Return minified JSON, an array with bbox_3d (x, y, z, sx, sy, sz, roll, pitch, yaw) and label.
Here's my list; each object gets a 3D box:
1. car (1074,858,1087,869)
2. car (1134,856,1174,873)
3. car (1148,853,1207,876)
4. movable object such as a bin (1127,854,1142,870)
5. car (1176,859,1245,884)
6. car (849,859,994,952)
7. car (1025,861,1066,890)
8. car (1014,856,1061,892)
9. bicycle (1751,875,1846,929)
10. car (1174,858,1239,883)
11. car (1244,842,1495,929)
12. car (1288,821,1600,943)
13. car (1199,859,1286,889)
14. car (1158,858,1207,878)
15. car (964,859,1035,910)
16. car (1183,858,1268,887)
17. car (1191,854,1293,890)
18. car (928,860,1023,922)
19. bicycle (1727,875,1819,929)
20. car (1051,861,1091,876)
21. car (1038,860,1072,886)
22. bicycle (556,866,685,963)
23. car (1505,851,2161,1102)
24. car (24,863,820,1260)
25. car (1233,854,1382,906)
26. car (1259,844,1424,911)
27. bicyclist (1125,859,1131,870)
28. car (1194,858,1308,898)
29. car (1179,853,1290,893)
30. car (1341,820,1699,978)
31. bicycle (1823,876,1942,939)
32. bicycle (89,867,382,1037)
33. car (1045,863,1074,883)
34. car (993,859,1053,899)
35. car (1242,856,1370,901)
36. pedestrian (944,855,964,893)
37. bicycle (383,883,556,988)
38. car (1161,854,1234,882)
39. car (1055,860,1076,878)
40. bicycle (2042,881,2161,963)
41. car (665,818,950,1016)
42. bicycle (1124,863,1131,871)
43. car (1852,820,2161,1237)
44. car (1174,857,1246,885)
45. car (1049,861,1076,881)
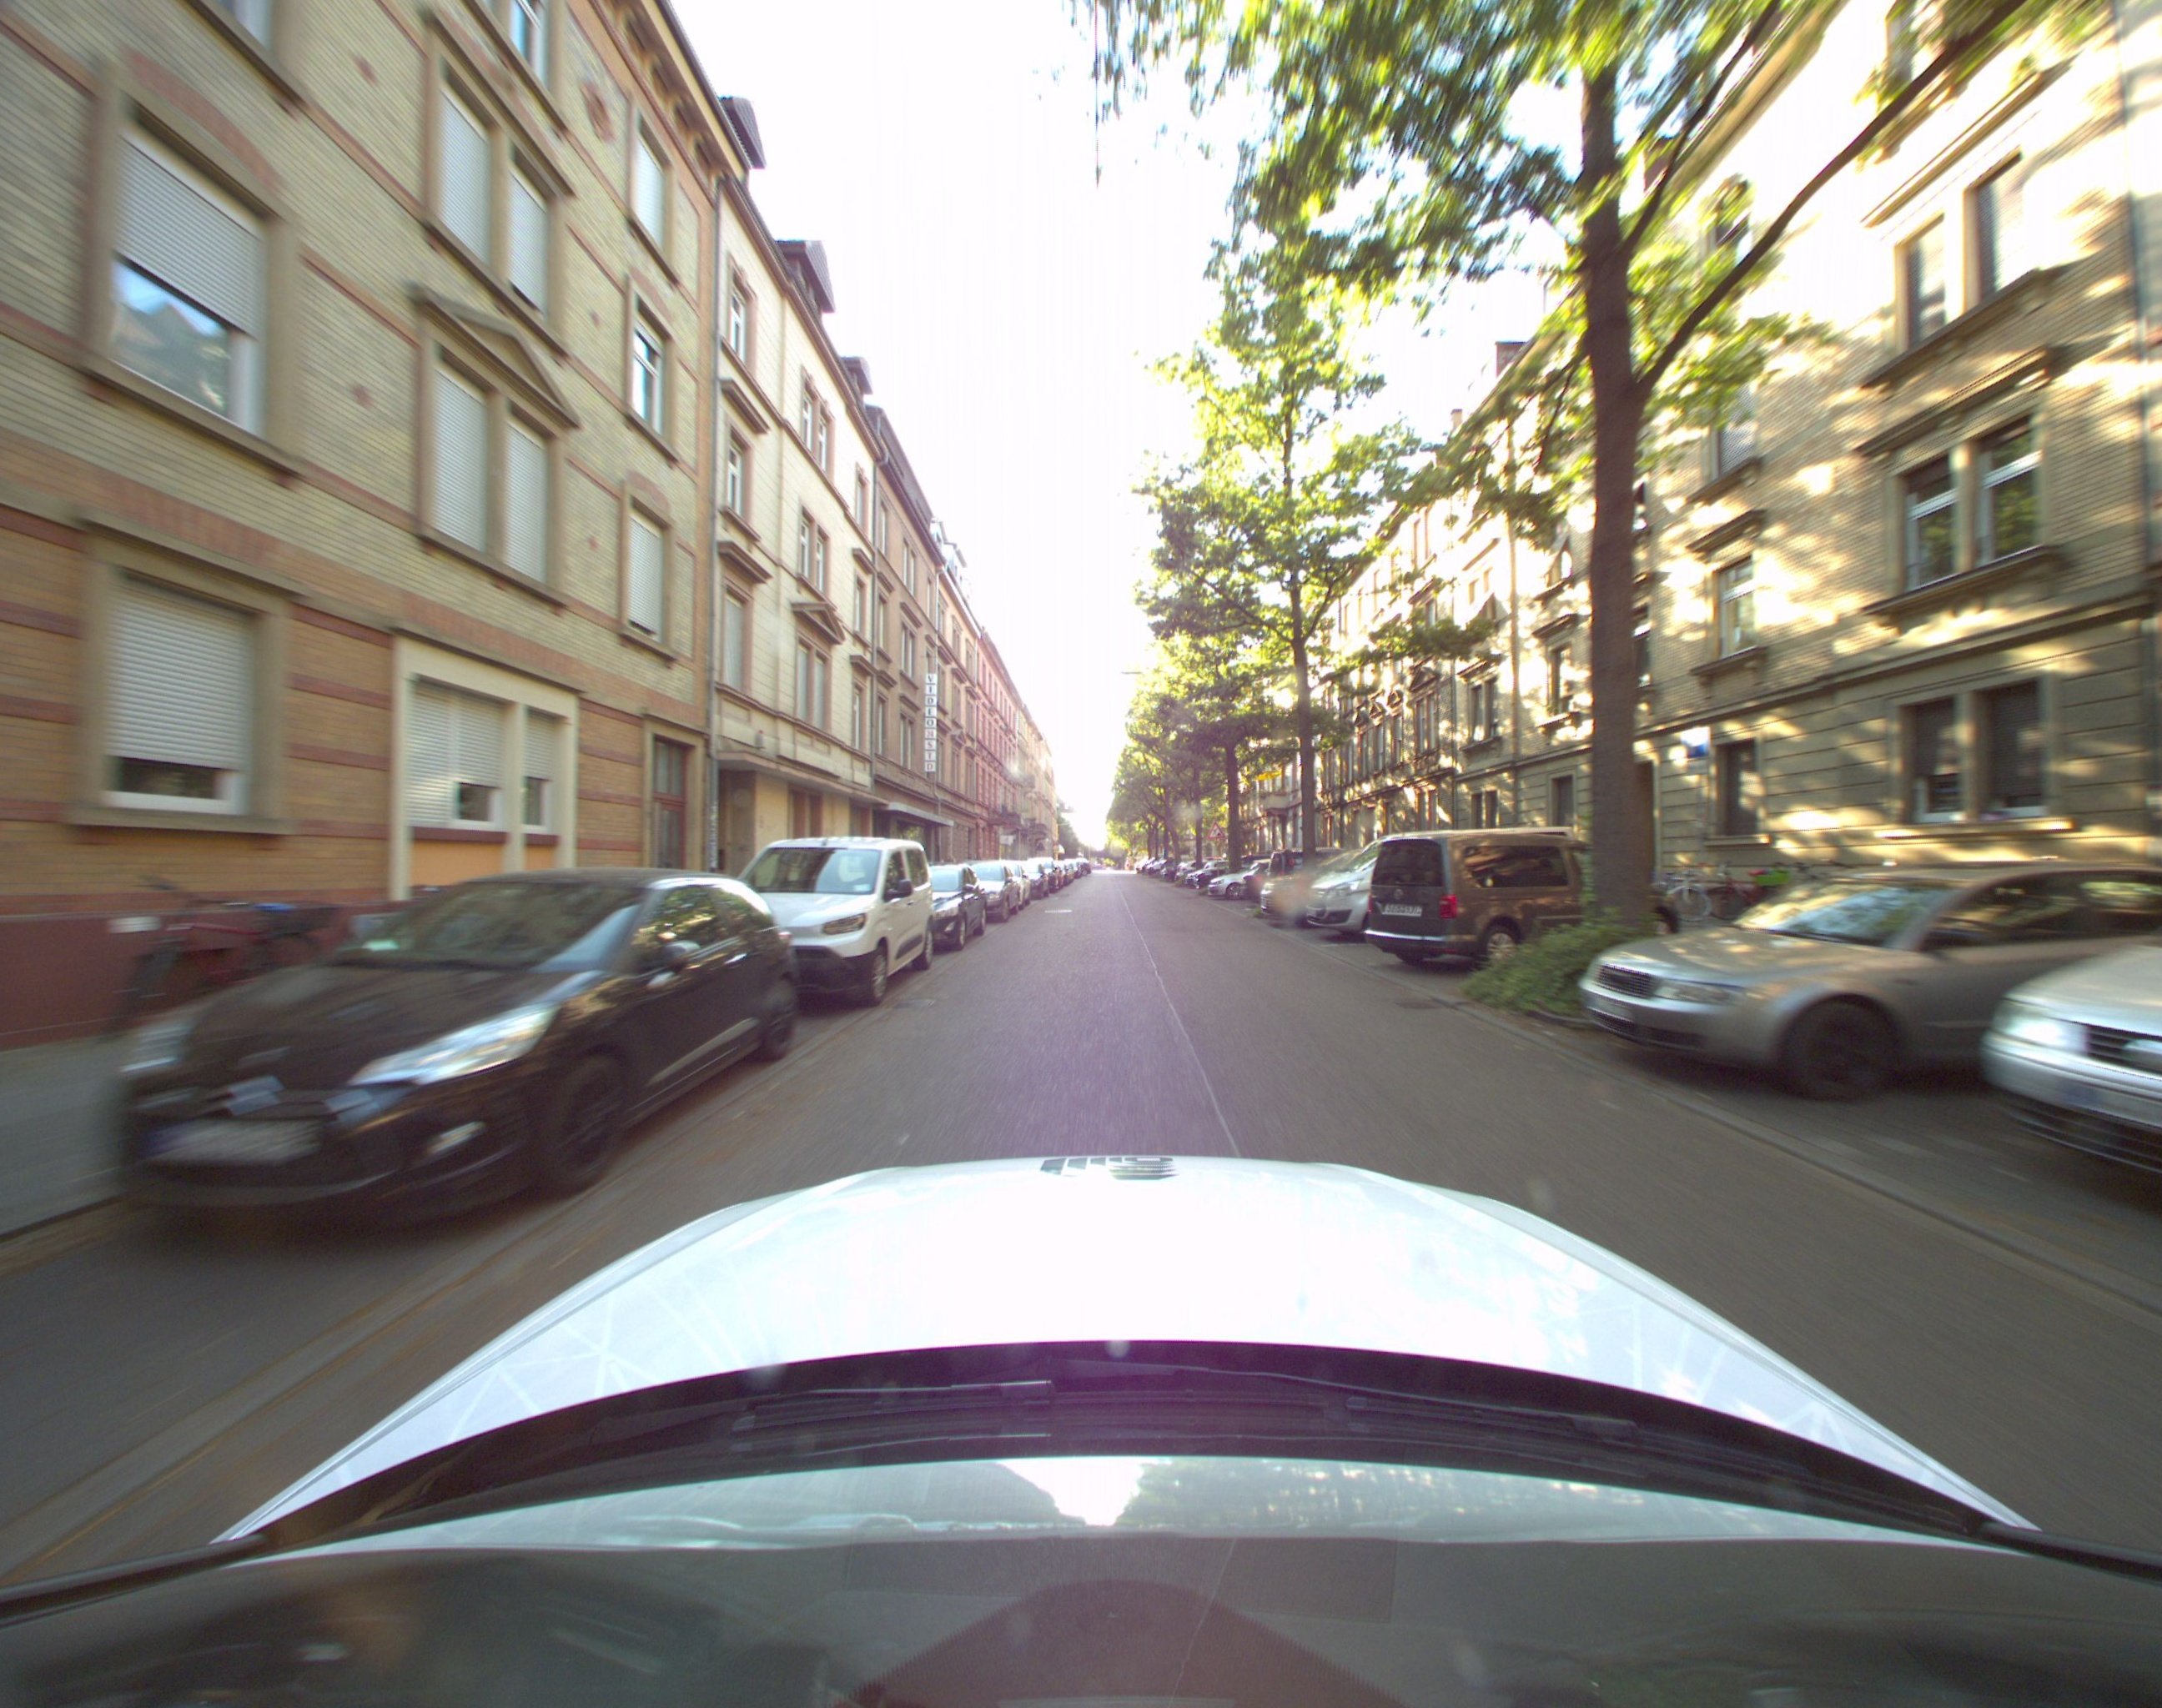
[{"bbox_3d":[-0.012,1.293,110.368,1.759,1.437,4.300,0,-1,0],"label":"car"},{"bbox_3d":[9.233,1.288,103.187,4.955,2.096,2.106,0,-1,1],"label":"car"},{"bbox_3d":[8.580,0.986,72.912,5.073,1.940,2.158,0,-4,1],"label":"car"},{"bbox_3d":[9.417,1.416,143.392,1.979,2.700,3.122,0,-1,15],"label":"movable object such as a bin"},{"bbox_3d":[7.988,1.062,50.616,3.976,1.462,1.781,0,-1,-2],"label":"car"},{"bbox_3d":[-2.753,0.836,15.018,1.740,1.473,4.245,0,0,1],"label":"car"},{"bbox_3d":[-1.828,1.103,43.385,1.814,1.426,4.315,1,0,2],"label":"car"},{"bbox_3d":[-2.019,0.921,38.969,1.814,1.600,4.315,1,0,2],"label":"car"},{"bbox_3d":[12.271,0.794,13.982,0.305,0.855,1.581,0,-1,3],"label":"bicycle"},{"bbox_3d":[8.167,1.051,53.211,3.976,1.590,1.781,0,-1,-2],"label":"car"},{"bbox_3d":[6.378,0.674,18.434,4.907,1.632,2.077,-3,-1,-2],"label":"car"},{"bbox_3d":[6.695,0.489,15.450,4.907,1.901,2.174,-3,-1,-2],"label":"car"},{"bbox_3d":[8.033,0.988,40.851,4.084,1.470,1.802,0,0,2],"label":"car"},{"bbox_3d":[8.486,1.158,68.327,3.876,1.649,1.722,0,-1,-4],"label":"car"},{"bbox_3d":[-2.495,0.898,25.798,1.751,1.472,4.088,0,0,1],"label":"car"},{"bbox_3d":[7.666,0.980,43.526,4.210,1.536,1.800,0,0,-2],"label":"car"},{"bbox_3d":[7.483,0.857,38.178,4.461,1.656,1.891,0,-2,0],"label":"car"},{"bbox_3d":[-2.627,0.876,21.321,1.880,1.444,4.542,0,0,0],"label":"car"},{"bbox_3d":[11.948,0.797,14.112,0.305,0.855,1.581,0,-1,3],"label":"bicycle"},{"bbox_3d":[-0.998,1.464,82.244,3.980,1.530,1.823,0,-1,-5],"label":"car"},{"bbox_3d":[-1.563,1.130,50.025,1.814,1.477,4.425,1,0,2],"label":"car"},{"bbox_3d":[-6.808,0.830,12.232,0.627,1.280,2.665,0,-1,-5],"label":"bicycle"},{"bbox_3d":[5.740,0.740,5.774,4.439,1.368,1.904,-2,-1,3],"label":"car"},{"bbox_3d":[-3.033,0.787,4.913,1.631,1.421,3.825,1,0,0],"label":"car"},{"bbox_3d":[7.038,0.794,25.588,4.131,1.455,1.937,-2,-1,0],"label":"car"},{"bbox_3d":[7.225,0.642,22.933,4.107,1.788,1.947,0,-1,3],"label":"car"},{"bbox_3d":[5.960,1.295,103.440,0.800,1.383,0.985,1,-1,1],"label":"bicyclist"},{"bbox_3d":[6.304,0.891,30.437,3.971,1.456,1.688,0,-1,2],"label":"car"},{"bbox_3d":[6.479,0.823,34.768,4.457,1.656,1.893,0,-2,3],"label":"car"},{"bbox_3d":[6.285,0.525,11.684,4.679,1.890,1.895,-1,0,-20],"label":"car"},{"bbox_3d":[12.062,0.782,12.310,0.305,0.855,1.581,0,-1,3],"label":"bicycle"},{"bbox_3d":[-7.168,0.749,7.068,0.492,1.257,1.909,1,-1,1],"label":"bicycle"},{"bbox_3d":[-1.421,1.257,54.900,1.699,1.323,4.103,0,-1,2],"label":"car"},{"bbox_3d":[-2.204,0.948,32.337,1.855,1.472,4.491,0,0,3],"label":"car"},{"bbox_3d":[7.699,0.837,28.075,3.976,1.495,1.686,0,-1,-2],"label":"car"},{"bbox_3d":[-5.551,0.859,35.726,0.693,1.631,1.018,0,-1,0],"label":"pedestrian"},{"bbox_3d":[-6.926,0.872,9.357,0.492,1.023,1.909,1,-1,1],"label":"bicycle"},{"bbox_3d":[7.885,0.963,55.523,4.633,1.702,1.880,-2,-1,-2],"label":"car"},{"bbox_3d":[-1.242,1.219,66.695,1.576,1.473,4.001,0,-1,1],"label":"car"},{"bbox_3d":[11.964,0.758,9.221,0.360,0.855,1.581,0,-1,3],"label":"bicycle"},{"bbox_3d":[-2.934,0.604,9.952,1.836,1.833,4.607,1,0,1],"label":"car"},{"bbox_3d":[5.959,1.635,103.434,0.800,0.968,2.109,1,-1,1],"label":"bicycle"},{"bbox_3d":[6.238,0.600,3.423,4.219,1.603,1.902,-2,-1,-1],"label":"car"},{"bbox_3d":[7.559,1.002,47.913,3.973,1.388,1.678,-3,-1,1],"label":"car"},{"bbox_3d":[-1.315,1.236,59.580,1.699,1.439,3.960,0,-1,2],"label":"car"}]
